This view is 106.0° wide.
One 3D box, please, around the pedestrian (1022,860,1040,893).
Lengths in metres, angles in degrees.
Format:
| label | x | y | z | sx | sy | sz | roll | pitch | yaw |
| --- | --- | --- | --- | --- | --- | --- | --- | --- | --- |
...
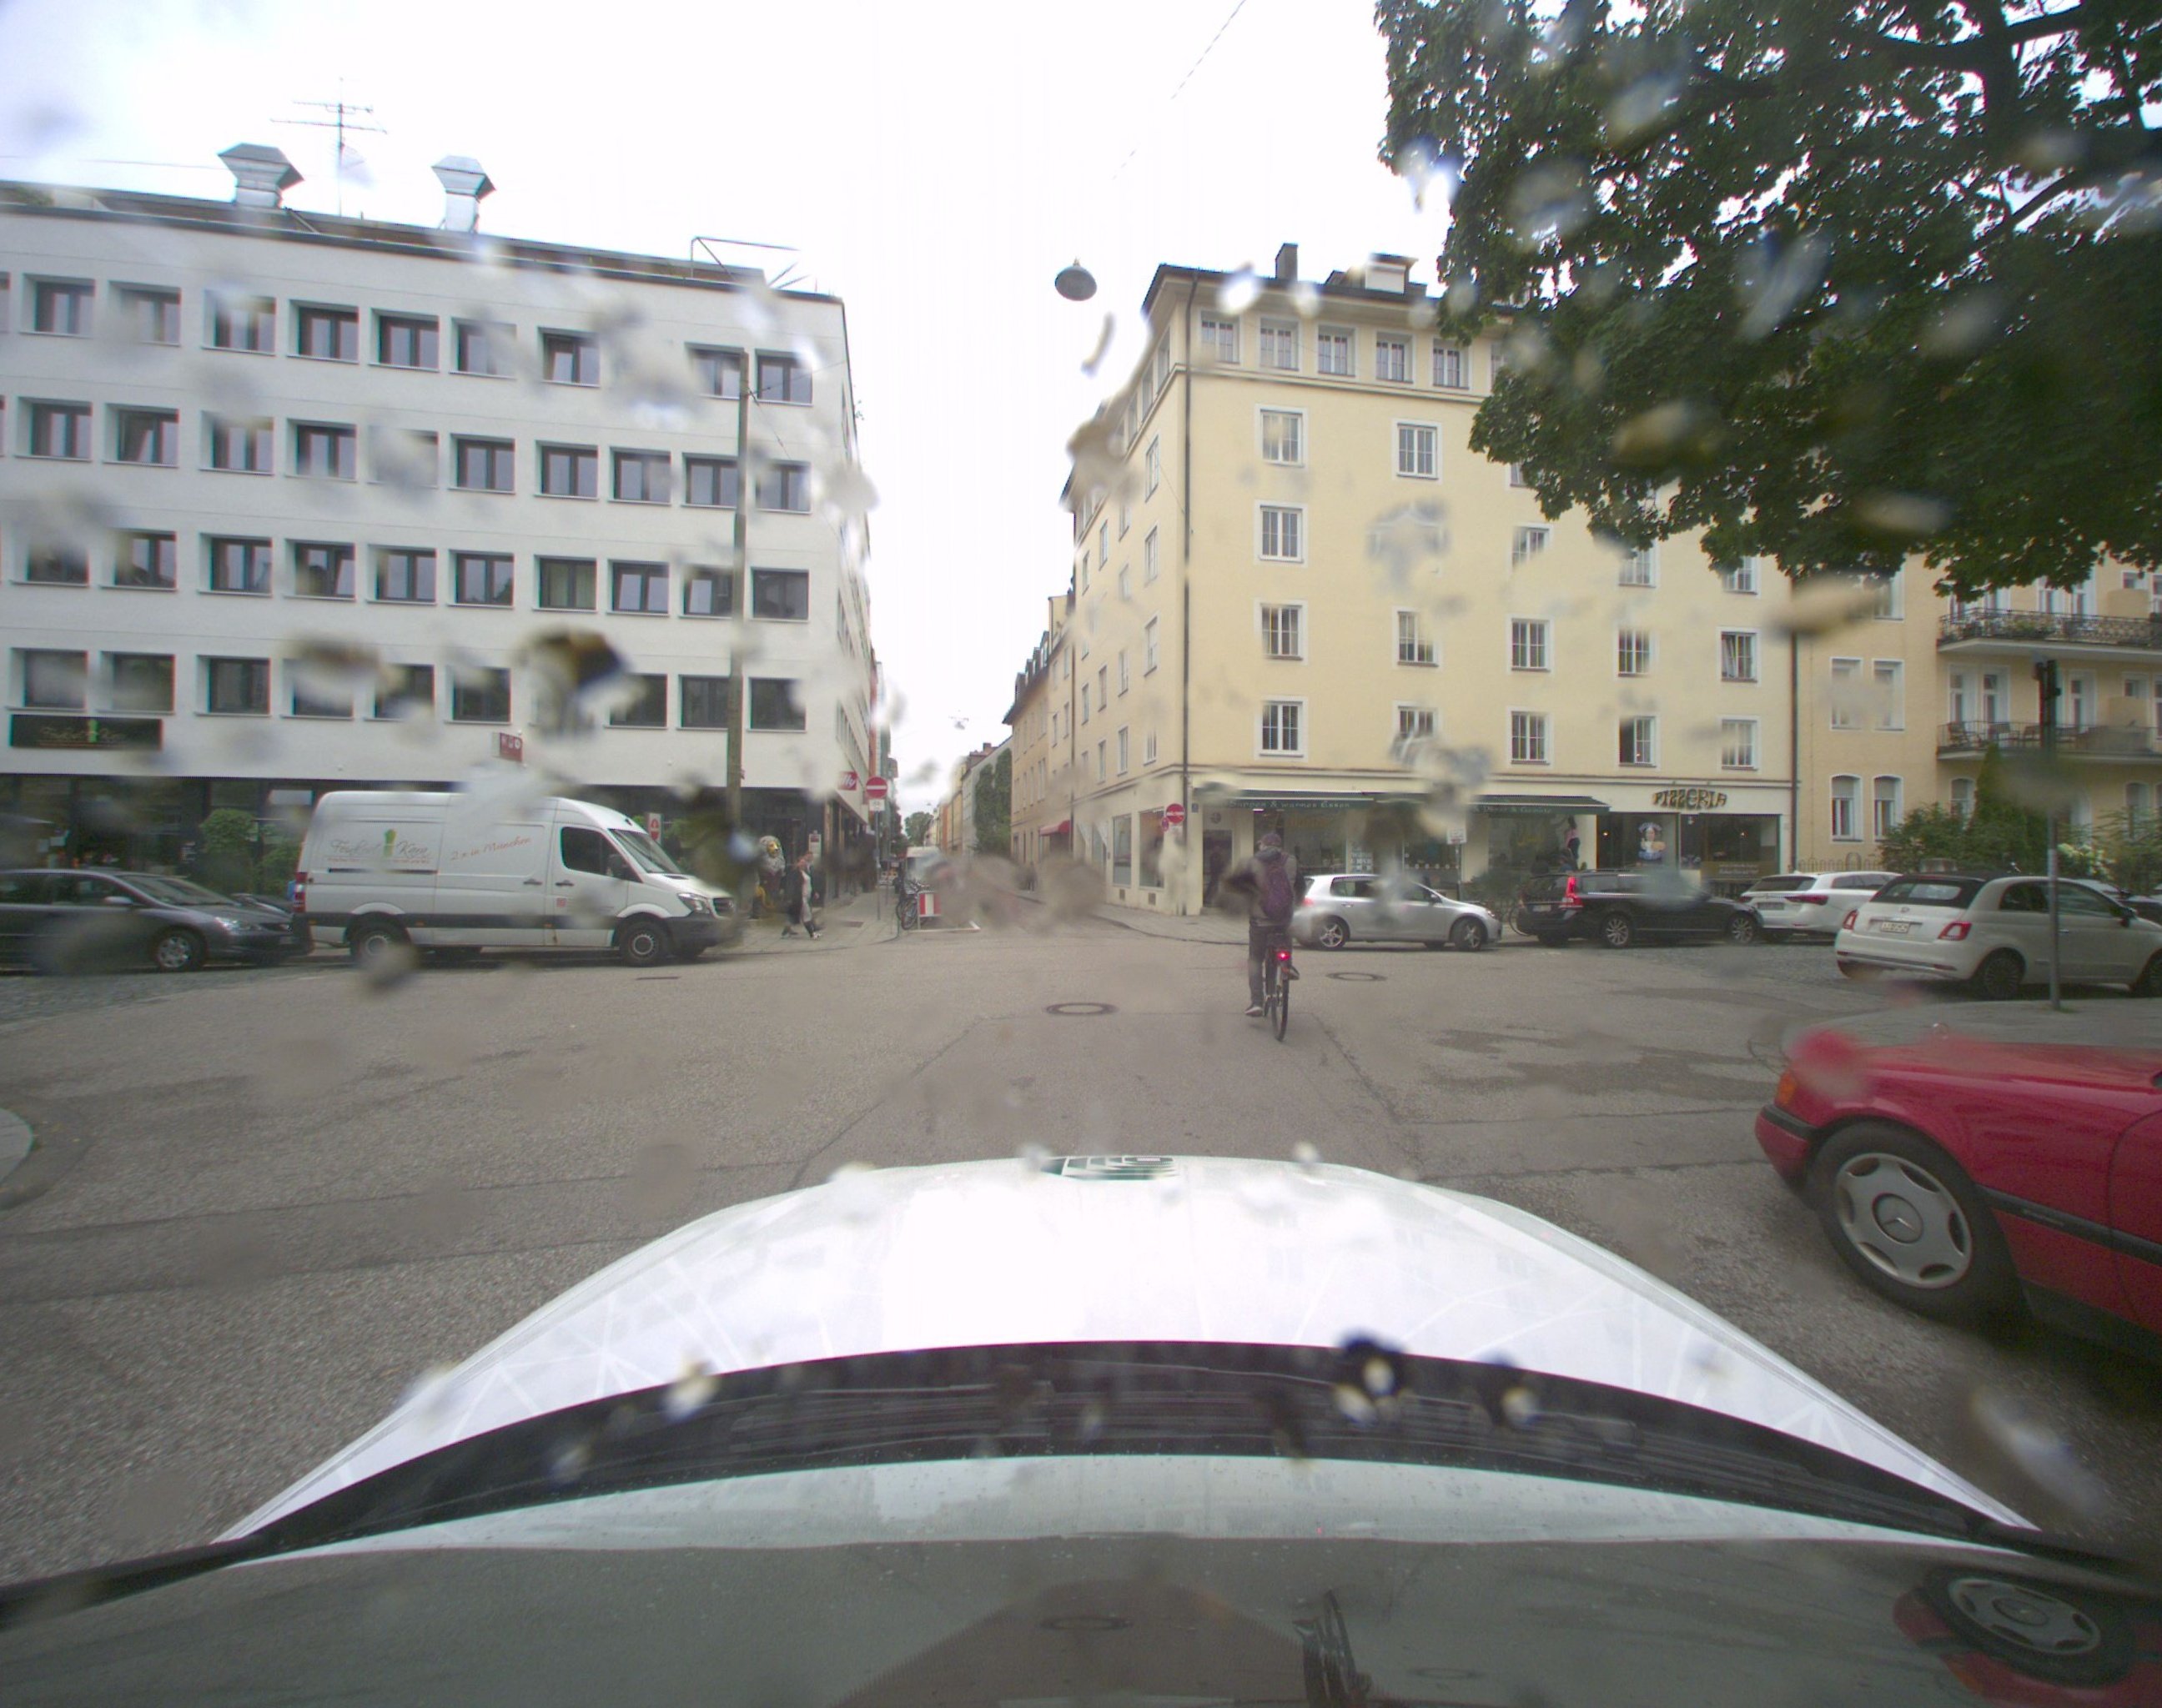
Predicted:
| label | x | y | z | sx | sy | sz | roll | pitch | yaw |
| --- | --- | --- | --- | --- | --- | --- | --- | --- | --- |
| pedestrian | -2.731 | 1.231 | 44.426 | 0.878 | 1.778 | 0.770 | 0 | -1 | -11 |

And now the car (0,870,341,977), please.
| label | x | y | z | sx | sy | sz | roll | pitch | yaw |
| --- | --- | --- | --- | --- | --- | --- | --- | --- | --- |
| car | -13.933 | 0.981 | 12.004 | 4.055 | 1.429 | 1.792 | 0 | -3 | -12 |

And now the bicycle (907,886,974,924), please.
| label | x | y | z | sx | sy | sz | roll | pitch | yaw |
| --- | --- | --- | --- | --- | --- | --- | --- | --- | --- |
| bicycle | -3.799 | 1.371 | 22.028 | 1.739 | 0.968 | 0.540 | 0 | -1 | -16 |

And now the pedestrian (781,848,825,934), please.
| label | x | y | z | sx | sy | sz | roll | pitch | yaw |
| --- | --- | --- | --- | --- | --- | --- | --- | --- | --- |
| pedestrian | -5.956 | 0.791 | 17.457 | 0.781 | 1.783 | 0.614 | 2 | 1 | -24 |

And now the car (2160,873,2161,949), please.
| label | x | y | z | sx | sy | sz | roll | pitch | yaw |
| --- | --- | --- | --- | --- | --- | --- | --- | --- | --- |
| car | 17.479 | 0.969 | 11.054 | 4.186 | 1.407 | 1.701 | 0 | -1 | -10 |

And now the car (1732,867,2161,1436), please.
| label | x | y | z | sx | sy | sz | roll | pitch | yaw |
| --- | --- | --- | --- | --- | --- | --- | --- | --- | --- |
| car | 3.590 | 0.775 | 1.373 | 1.663 | 1.435 | 4.213 | 1 | 0 | 0 |

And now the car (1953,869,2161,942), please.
| label | x | y | z | sx | sy | sz | roll | pitch | yaw |
| --- | --- | --- | --- | --- | --- | --- | --- | --- | --- |
| car | 21.421 | 1.099 | 17.440 | 3.987 | 1.449 | 1.805 | 0 | -4 | -10 |

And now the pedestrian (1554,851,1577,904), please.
| label | x | y | z | sx | sy | sz | roll | pitch | yaw |
| --- | --- | --- | --- | --- | --- | --- | --- | --- | --- |
| pedestrian | 14.234 | 0.677 | 23.904 | 0.550 | 1.537 | 0.437 | 1 | 1 | 32 |

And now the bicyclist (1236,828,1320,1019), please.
| label | x | y | z | sx | sy | sz | roll | pitch | yaw |
| --- | --- | --- | --- | --- | --- | --- | --- | --- | --- |
| bicyclist | 1.737 | 0.583 | 7.252 | 0.603 | 1.606 | 0.758 | 0 | 0 | 4 |

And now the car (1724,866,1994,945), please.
| label | x | y | z | sx | sy | sz | roll | pitch | yaw |
| --- | --- | --- | --- | --- | --- | --- | --- | --- | --- |
| car | 16.040 | 1.053 | 16.893 | 4.335 | 1.503 | 1.814 | 1 | -3 | -10 |

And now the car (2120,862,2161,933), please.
| label | x | y | z | sx | sy | sz | roll | pitch | yaw |
| --- | --- | --- | --- | --- | --- | --- | --- | --- | --- |
| car | 26.935 | 0.977 | 18.833 | 3.984 | 1.638 | 1.748 | 0 | -3 | -8 |

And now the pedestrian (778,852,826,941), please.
| label | x | y | z | sx | sy | sz | roll | pitch | yaw |
| --- | --- | --- | --- | --- | --- | --- | --- | --- | --- |
| pedestrian | -5.725 | 0.860 | 16.701 | 0.794 | 1.746 | 0.766 | 2 | 1 | -24 |

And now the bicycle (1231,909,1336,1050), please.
| label | x | y | z | sx | sy | sz | roll | pitch | yaw |
| --- | --- | --- | --- | --- | --- | --- | --- | --- | --- |
| bicycle | 1.735 | 1.034 | 7.180 | 0.636 | 1.004 | 1.576 | 1 | -1 | 4 |

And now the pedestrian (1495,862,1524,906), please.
| label | x | y | z | sx | sy | sz | roll | pitch | yaw |
| --- | --- | --- | --- | --- | --- | --- | --- | --- | --- |
| pedestrian | 12.846 | 0.902 | 24.423 | 0.515 | 1.297 | 0.577 | 1 | -1 | -30 |

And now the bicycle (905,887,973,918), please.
| label | x | y | z | sx | sy | sz | roll | pitch | yaw |
| --- | --- | --- | --- | --- | --- | --- | --- | --- | --- |
| bicycle | -4.179 | 1.414 | 23.927 | 1.915 | 0.863 | 0.615 | 0 | -1 | -16 |

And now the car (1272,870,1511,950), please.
| label | x | y | z | sx | sy | sz | roll | pitch | yaw |
| --- | --- | --- | --- | --- | --- | --- | --- | --- | --- |
| car | 5.893 | 1.090 | 15.855 | 3.971 | 1.416 | 1.821 | 0 | -4 | 2 |

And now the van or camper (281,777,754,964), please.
| label | x | y | z | sx | sy | sz | roll | pitch | yaw |
| --- | --- | --- | --- | --- | --- | --- | --- | --- | --- |
| van or camper | -8.570 | 0.260 | 12.985 | 5.901 | 2.677 | 1.868 | 0 | -2 | -8 |

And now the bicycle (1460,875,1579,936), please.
| label | x | y | z | sx | sy | sz | roll | pitch | yaw |
| --- | --- | --- | --- | --- | --- | --- | --- | --- | --- |
| bicycle | 9.658 | 1.116 | 17.990 | 2.081 | 1.253 | 1.103 | 1 | 0 | -9 |

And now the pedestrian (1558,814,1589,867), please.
| label | x | y | z | sx | sy | sz | roll | pitch | yaw |
| --- | --- | --- | --- | --- | --- | --- | --- | --- | --- |
| pedestrian | 15.122 | -0.412 | 25.027 | 0.552 | 1.575 | 0.576 | 2 | -1 | -9 |

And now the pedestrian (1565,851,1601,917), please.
| label | x | y | z | sx | sy | sz | roll | pitch | yaw |
| --- | --- | --- | --- | --- | --- | --- | --- | --- | --- |
| pedestrian | 13.228 | 0.780 | 21.475 | 0.602 | 1.702 | 0.542 | 0 | 1 | -8 |

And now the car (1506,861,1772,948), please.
| label | x | y | z | sx | sy | sz | roll | pitch | yaw |
| --- | --- | --- | --- | --- | --- | --- | --- | --- | --- |
| car | 11.029 | 0.991 | 16.215 | 4.335 | 1.592 | 1.814 | 1 | -2 | -10 |

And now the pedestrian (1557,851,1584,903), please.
| label | x | y | z | sx | sy | sz | roll | pitch | yaw |
| --- | --- | --- | --- | --- | --- | --- | --- | --- | --- |
| pedestrian | 14.652 | 0.676 | 24.382 | 0.435 | 1.551 | 0.530 | 0 | -1 | -27 |

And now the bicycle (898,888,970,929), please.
| label | x | y | z | sx | sy | sz | roll | pitch | yaw |
| --- | --- | --- | --- | --- | --- | --- | --- | --- | --- |
| bicycle | -3.733 | 1.366 | 20.644 | 1.758 | 0.968 | 0.592 | 0 | -1 | -16 |

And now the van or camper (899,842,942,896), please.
| label | x | y | z | sx | sy | sz | roll | pitch | yaw |
| --- | --- | --- | --- | --- | --- | --- | --- | --- | --- |
| van or camper | -7.939 | 0.729 | 40.639 | 1.993 | 2.540 | 4.744 | 0 | -1 | -10 |

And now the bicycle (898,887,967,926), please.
| label | x | y | z | sx | sy | sz | roll | pitch | yaw |
| --- | --- | --- | --- | --- | --- | --- | --- | --- | --- |
| bicycle | -3.882 | 1.368 | 21.314 | 1.739 | 0.968 | 0.540 | 0 | -1 | -16 |

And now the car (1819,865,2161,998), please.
| label | x | y | z | sx | sy | sz | roll | pitch | yaw |
| --- | --- | --- | --- | --- | --- | --- | --- | --- | --- |
| car | 11.692 | 0.911 | 10.385 | 3.318 | 1.487 | 1.624 | 0 | 0 | -7 |

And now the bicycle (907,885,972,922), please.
| label | x | y | z | sx | sy | sz | roll | pitch | yaw |
| --- | --- | --- | --- | --- | --- | --- | --- | --- | --- |
| bicycle | -3.940 | 1.369 | 22.637 | 1.739 | 0.968 | 0.540 | 0 | -1 | -16 |

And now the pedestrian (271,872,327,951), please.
| label | x | y | z | sx | sy | sz | roll | pitch | yaw |
| --- | --- | --- | --- | --- | --- | --- | --- | --- | --- |
| pedestrian | -15.030 | 1.090 | 15.659 | 0.644 | 1.481 | 0.595 | -1 | -3 | 35 |

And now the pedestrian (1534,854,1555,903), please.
| label | x | y | z | sx | sy | sz | roll | pitch | yaw |
| --- | --- | --- | --- | --- | --- | --- | --- | --- | --- |
| pedestrian | 13.885 | 0.726 | 24.392 | 0.507 | 1.433 | 0.586 | 0 | -1 | 32 |
